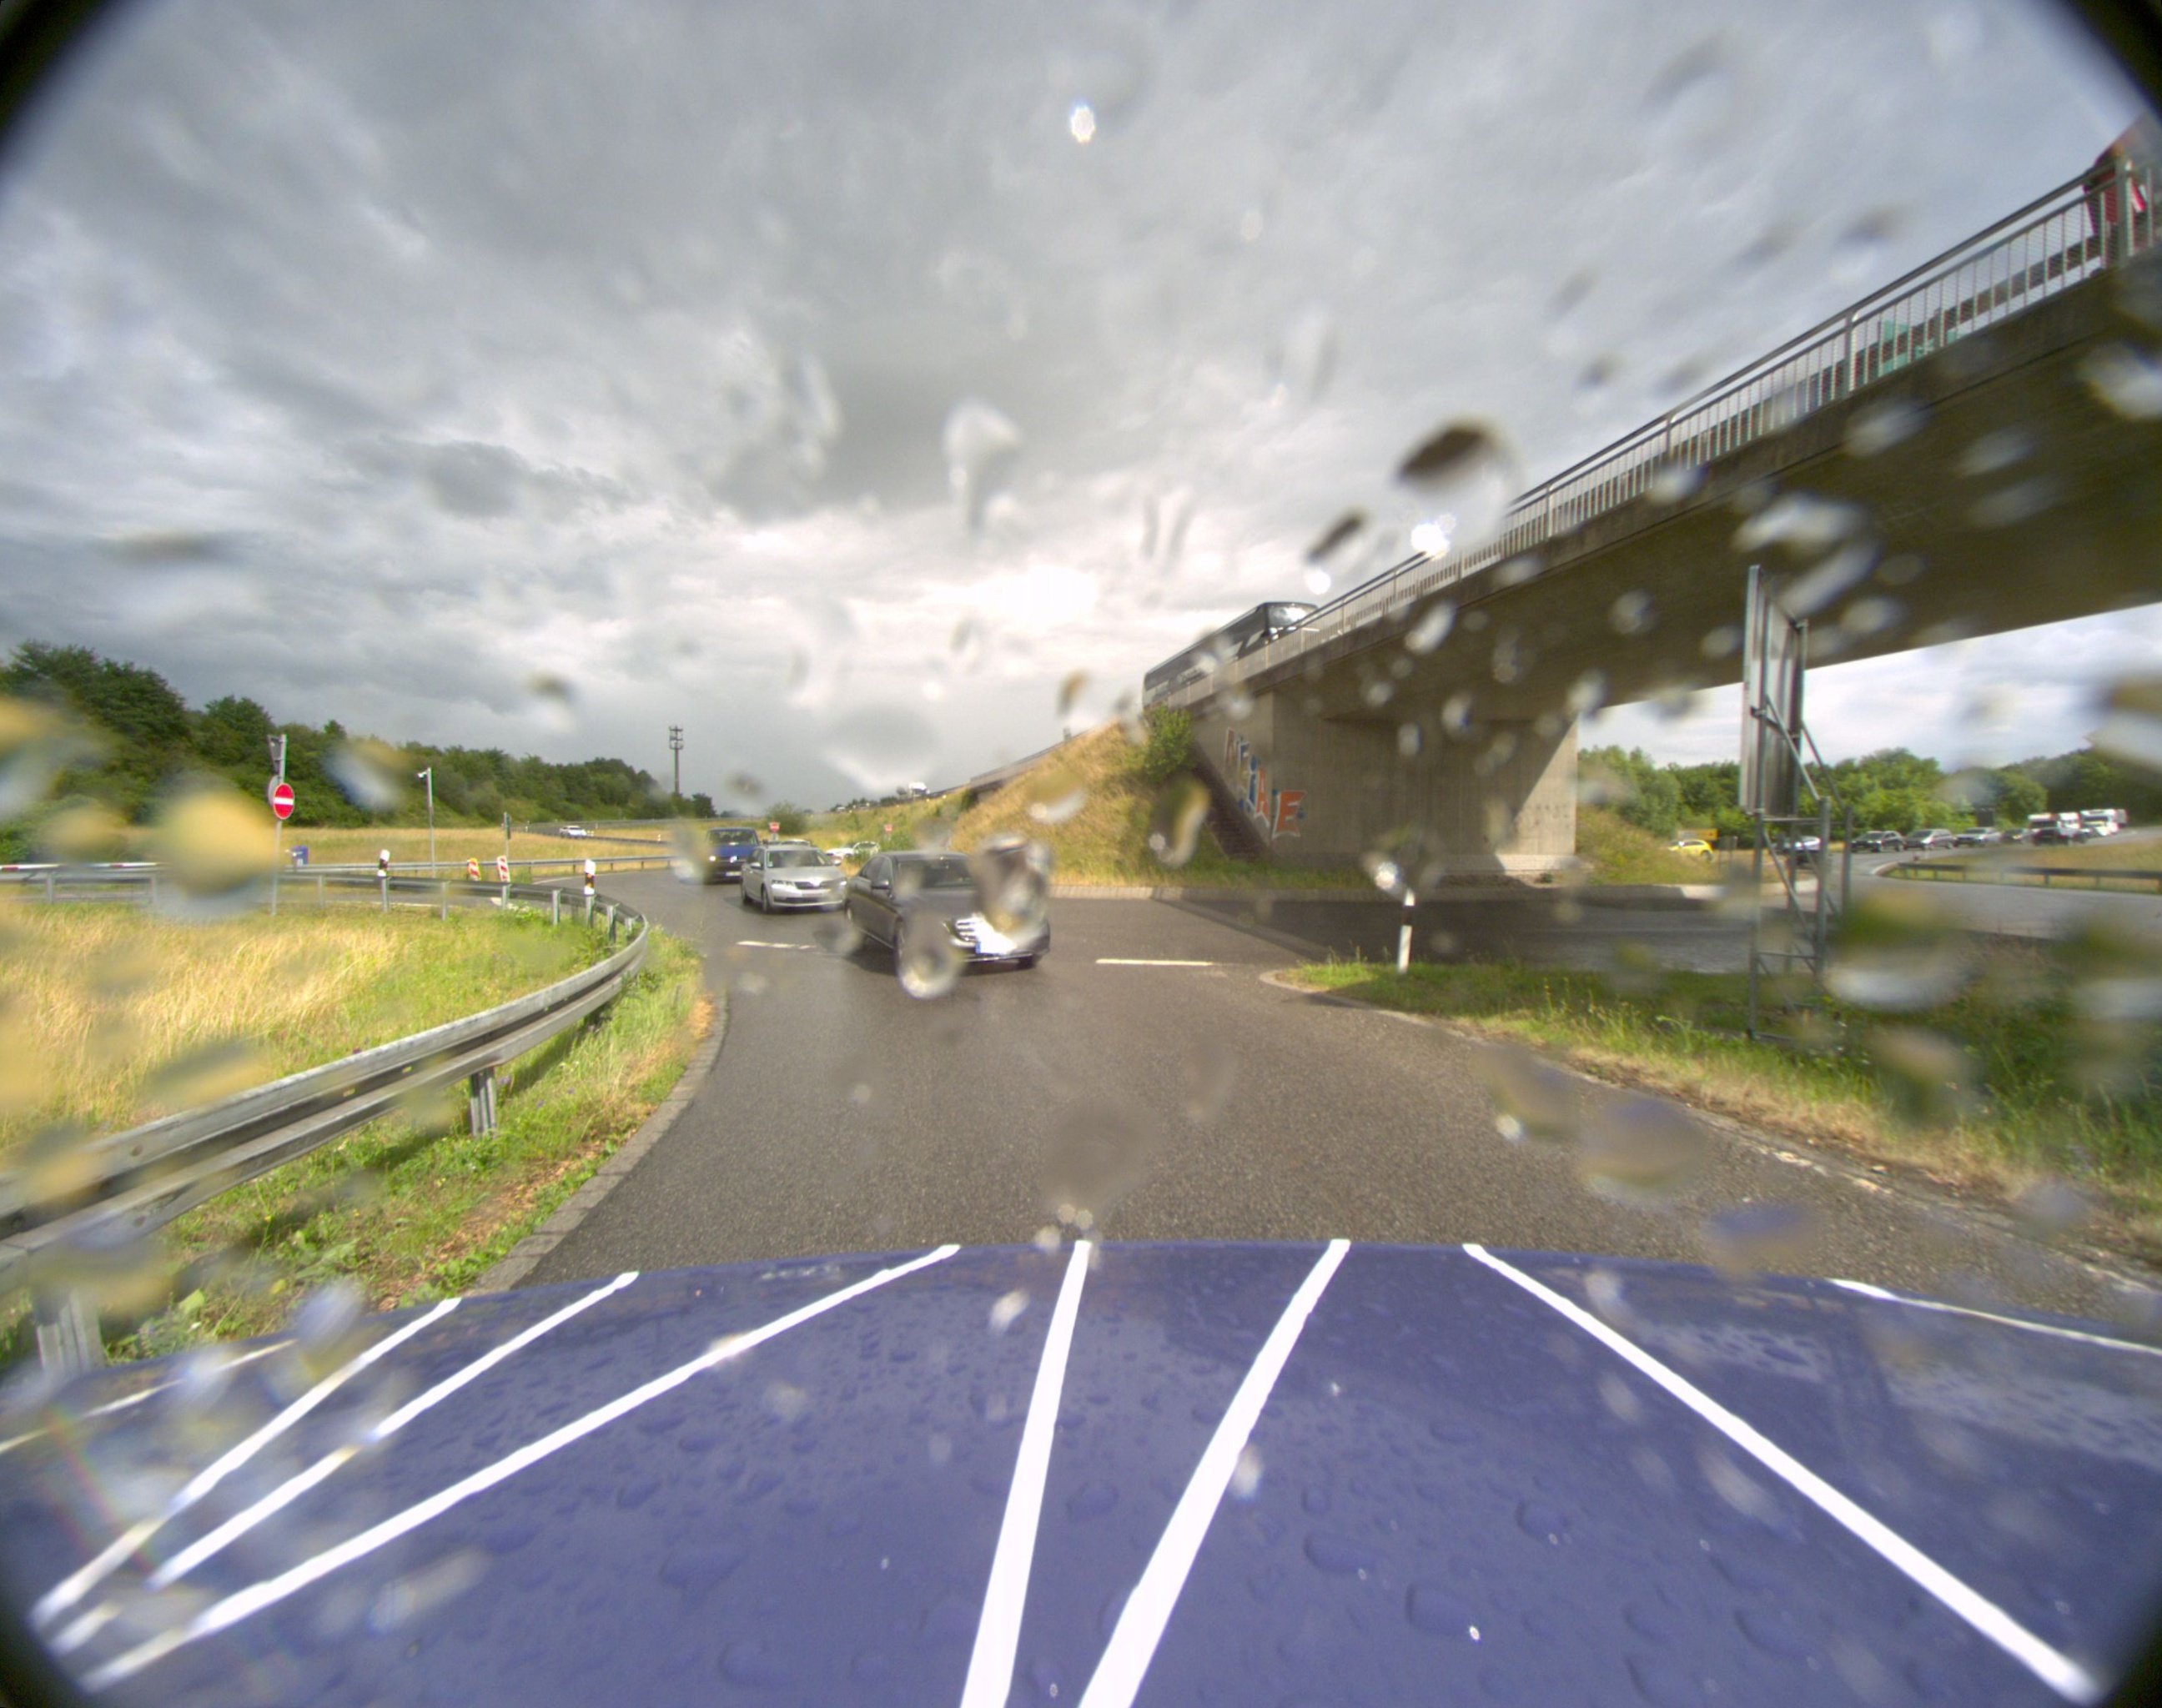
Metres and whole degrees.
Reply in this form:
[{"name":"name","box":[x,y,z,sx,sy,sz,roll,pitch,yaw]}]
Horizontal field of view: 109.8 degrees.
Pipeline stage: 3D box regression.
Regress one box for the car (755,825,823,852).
[{"name":"car","box":[-16.958,-0.910,44.310,1.569,1.528,3.933,1,1,17]}]

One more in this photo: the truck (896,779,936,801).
[{"name":"truck","box":[-27.134,-10.445,124.550,3.166,3.177,9.253,-3,3,-34]}]

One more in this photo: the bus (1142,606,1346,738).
[{"name":"bus","box":[6.490,-7.584,34.350,2.614,3.063,14.438,-2,3,-16]}]

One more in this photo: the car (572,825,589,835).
[{"name":"car","box":[-62.925,-3.024,95.591,1.714,1.283,3.764,-1,2,-32]}]

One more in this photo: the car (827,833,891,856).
[{"name":"car","box":[-14.964,-0.649,51.294,3.852,1.466,1.614,-1,2,-29]}]

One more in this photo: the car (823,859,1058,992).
[{"name":"car","box":[-2.242,0.811,10.897,1.774,1.383,4.579,-1,1,-31]}]

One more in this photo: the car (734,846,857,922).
[{"name":"car","box":[-6.666,0.571,17.445,1.801,1.391,4.337,-1,2,-32]}]

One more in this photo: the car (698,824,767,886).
[{"name":"car","box":[-12.497,-0.070,27.057,1.896,1.905,5.667,-1,3,-28]}]
